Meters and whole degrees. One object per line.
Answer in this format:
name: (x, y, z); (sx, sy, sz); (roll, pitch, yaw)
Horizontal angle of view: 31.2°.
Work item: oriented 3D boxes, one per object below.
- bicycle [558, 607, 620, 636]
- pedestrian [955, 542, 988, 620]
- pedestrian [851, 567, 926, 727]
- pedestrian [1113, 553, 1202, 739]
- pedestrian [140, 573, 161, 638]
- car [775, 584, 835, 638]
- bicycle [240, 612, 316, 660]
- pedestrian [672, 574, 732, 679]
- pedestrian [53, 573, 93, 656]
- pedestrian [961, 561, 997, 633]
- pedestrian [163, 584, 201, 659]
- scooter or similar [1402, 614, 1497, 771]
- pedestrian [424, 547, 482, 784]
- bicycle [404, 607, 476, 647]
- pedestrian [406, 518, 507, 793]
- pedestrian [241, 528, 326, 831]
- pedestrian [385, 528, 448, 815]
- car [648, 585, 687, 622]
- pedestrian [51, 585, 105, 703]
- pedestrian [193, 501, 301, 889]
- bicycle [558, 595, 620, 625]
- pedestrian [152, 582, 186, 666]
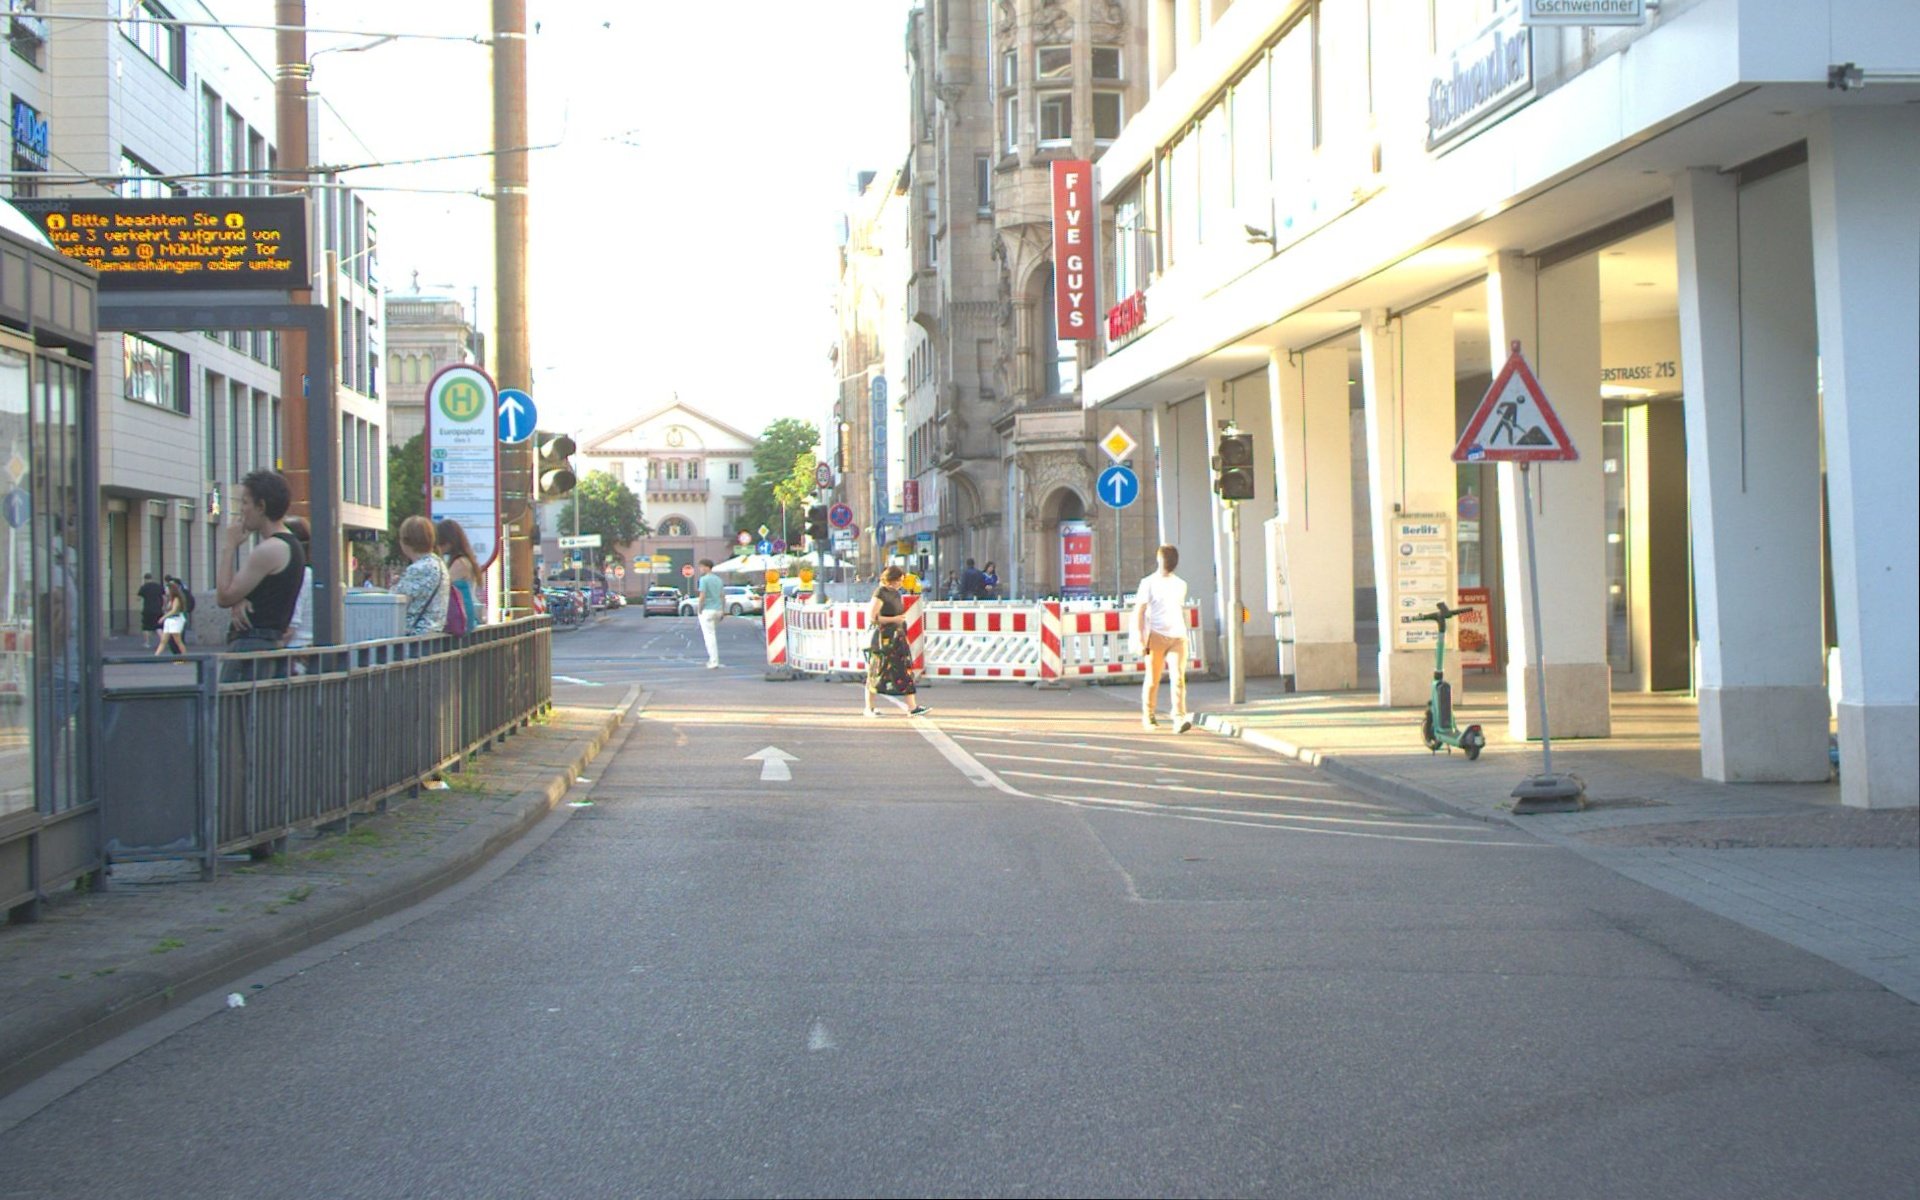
bicycle: (-13.317, 0.766, 123.528); (2.148, 1.026, 0.640); (-1, 0, -2)
pedestrian: (0.253, -0.408, 75.241); (0.625, 1.684, 0.671); (-1, 0, -6)
pedestrian: (-0.768, 0.499, 36.641); (0.699, 1.687, 0.541); (1, 0, -11)
pedestrian: (1.952, 0.450, 34.071); (0.699, 1.809, 0.852); (1, 0, -9)
pedestrian: (-18.743, 0.125, 79.577); (0.390, 1.510, 0.506); (-1, 0, -5)
car: (-4.694, 0.331, 103.773); (1.678, 1.542, 3.673); (-2, 0, -4)
bicycle: (-16.156, 0.849, 81.409); (1.696, 1.118, 0.451); (1, 0, -1)
pedestrian: (-4.387, 0.452, 58.484); (0.866, 1.755, 0.767); (1, -1, 8)
pedestrian: (-20.058, 0.328, 77.745); (0.573, 1.848, 0.816); (1, 0, 8)
pedestrian: (0.441, -0.067, 78.226); (0.711, 1.605, 0.822); (1, 0, -6)
pedestrian: (-18.175, 0.495, 80.279); (0.781, 1.745, 0.600); (1, 0, -7)
scooter or similar: (3.941, 0.731, 27.722); (0.505, 1.230, 1.180); (-1, 0, -4)
pedestrian: (-3.543, 0.453, 24.030); (0.356, 1.636, 0.503); (1, 0, -6)
bicycle: (-14.854, 0.778, 98.257); (1.967, 1.118, 0.558); (1, 0, -32)
pedestrian: (-3.281, 0.357, 22.437); (0.539, 1.761, 0.594); (1, 0, 2)
pedestrian: (-3.716, 0.431, 18.904); (0.385, 1.636, 0.549); (1, 0, -6)
pedestrian: (-3.438, 0.445, 21.746); (0.341, 1.789, 0.544); (1, 0, -6)
car: (-15.275, 0.182, 179.705); (1.993, 1.897, 4.000); (1, 0, -4)
pedestrian: (-12.765, 0.628, 49.747); (0.743, 1.694, 0.610); (-1, 0, -15)
pedestrian: (-3.301, 0.436, 15.937); (0.412, 1.761, 0.594); (1, 0, -6)
bicycle: (-13.258, 0.351, 122.887); (2.148, 1.026, 0.640); (-1, 0, -2)
pedestrian: (-15.681, 0.471, 68.177); (0.528, 1.668, 0.651); (-1, 0, -3)
